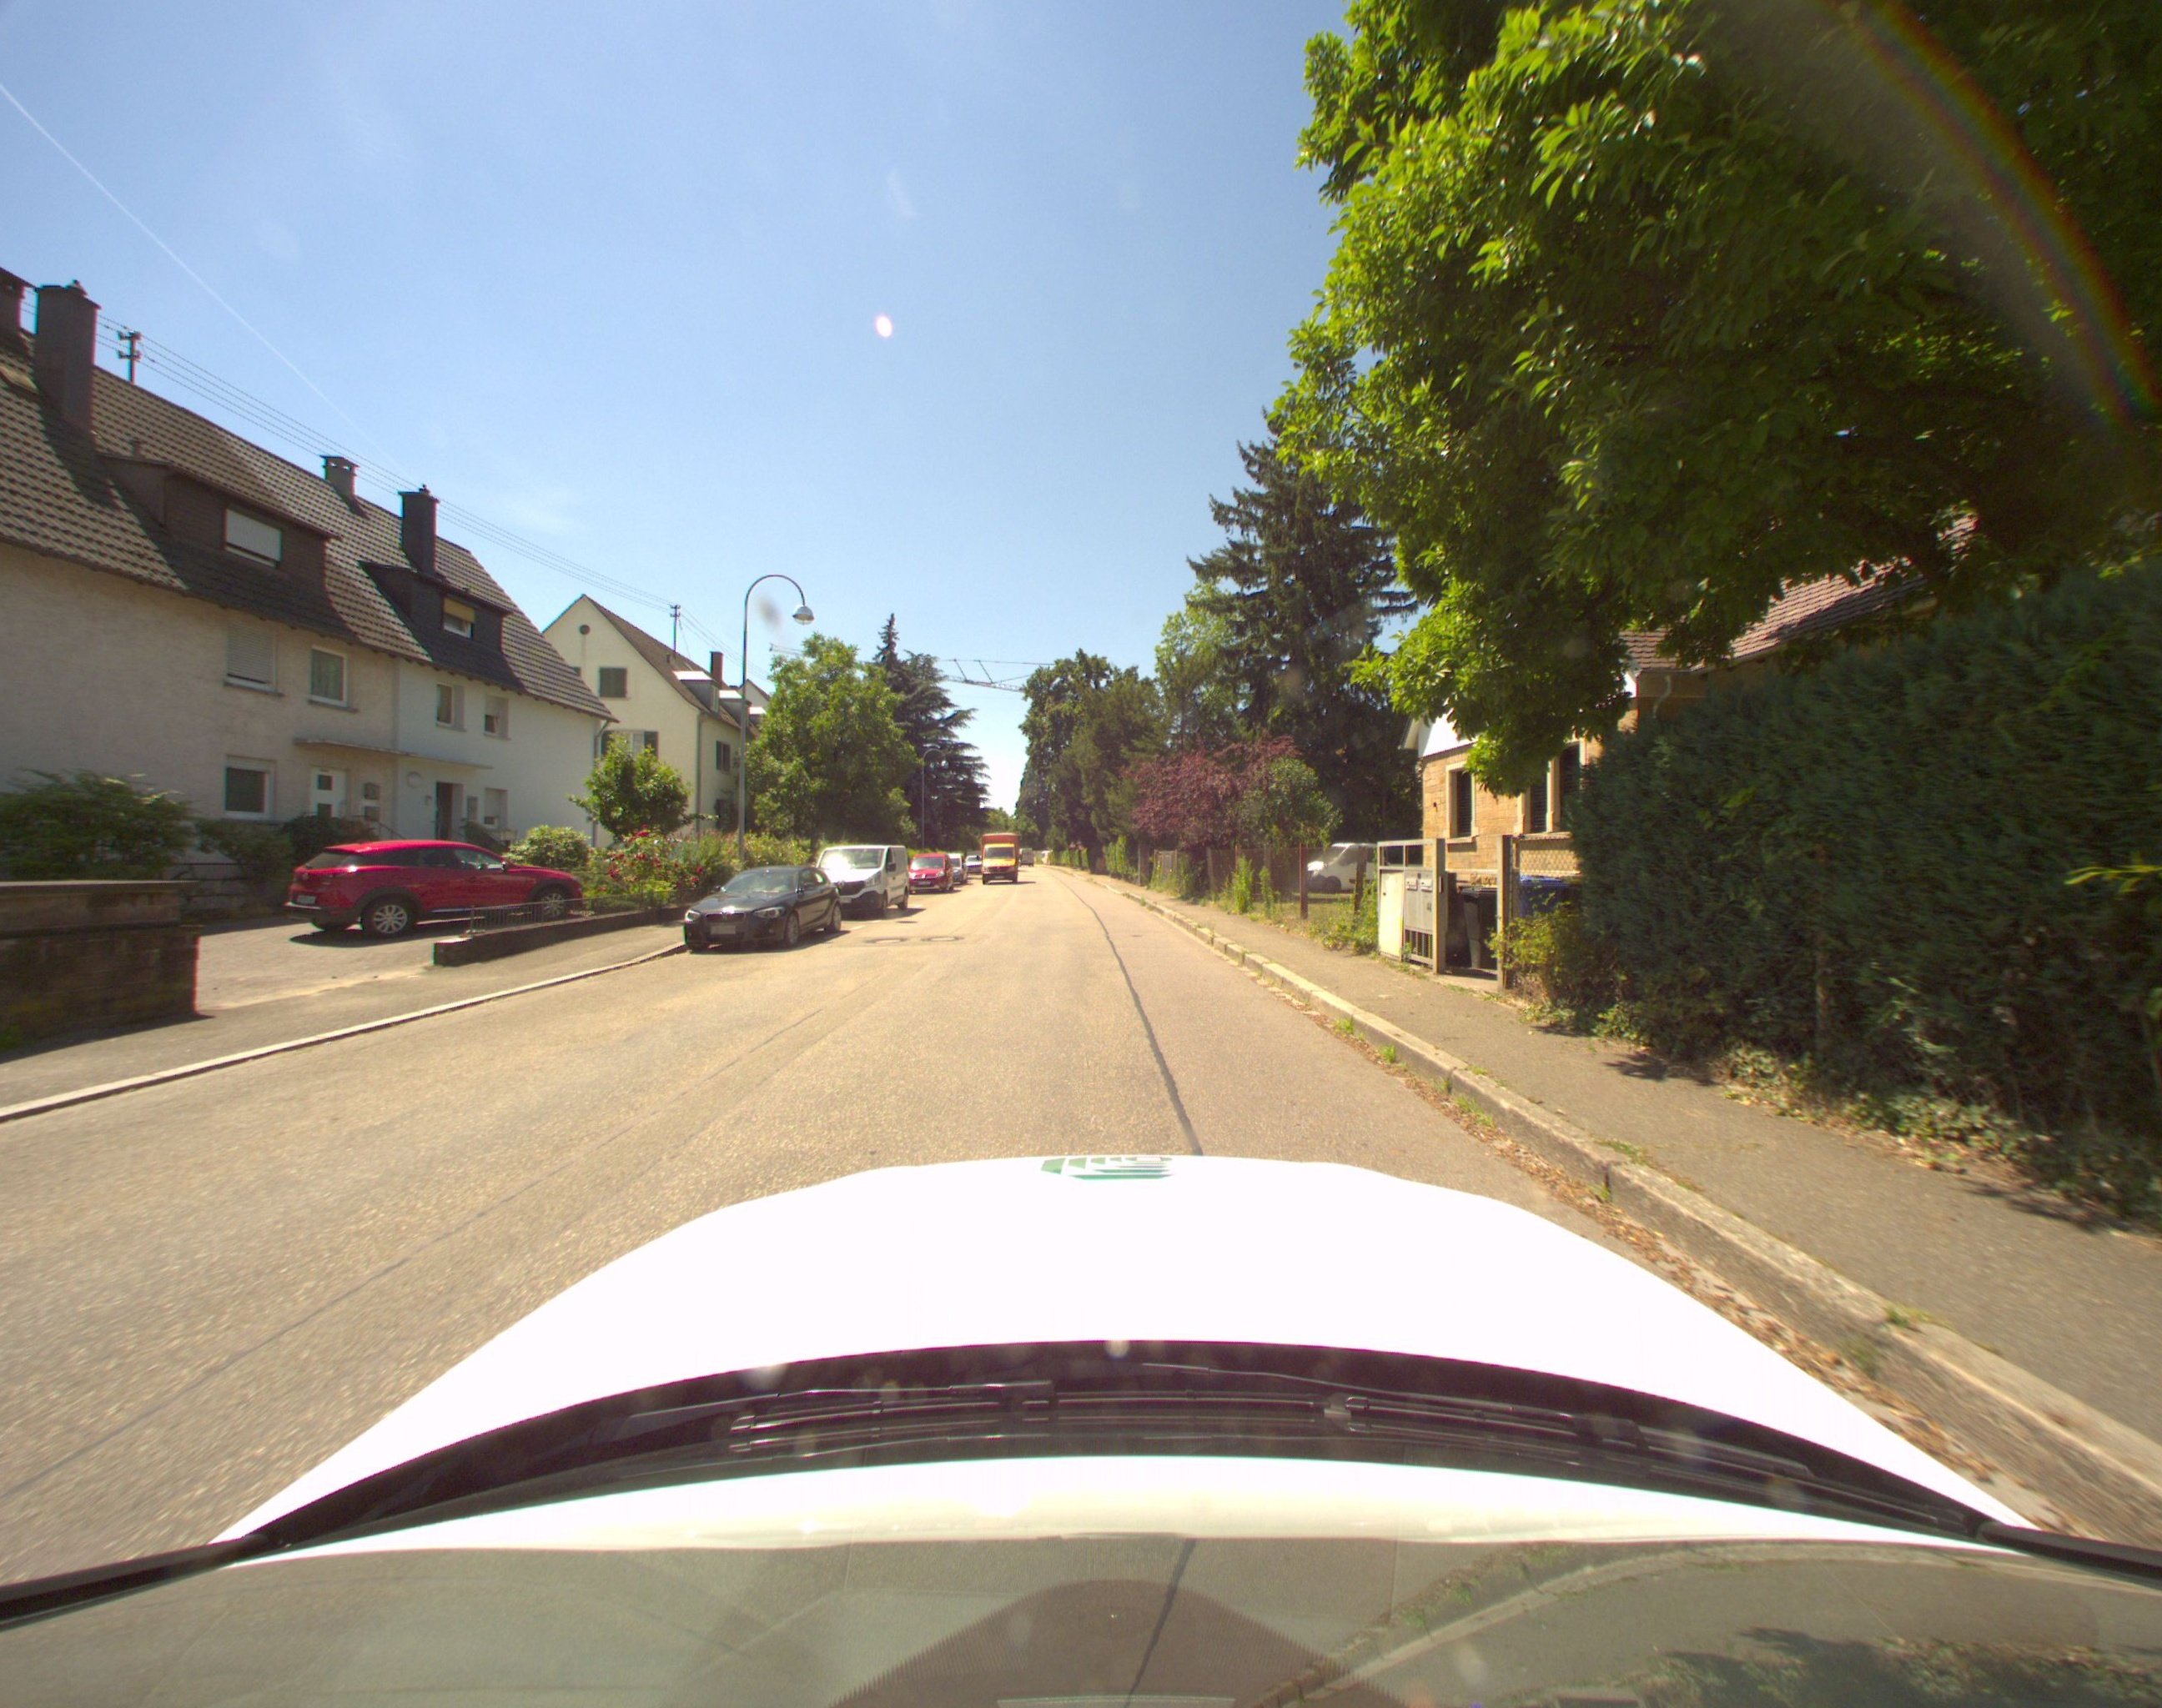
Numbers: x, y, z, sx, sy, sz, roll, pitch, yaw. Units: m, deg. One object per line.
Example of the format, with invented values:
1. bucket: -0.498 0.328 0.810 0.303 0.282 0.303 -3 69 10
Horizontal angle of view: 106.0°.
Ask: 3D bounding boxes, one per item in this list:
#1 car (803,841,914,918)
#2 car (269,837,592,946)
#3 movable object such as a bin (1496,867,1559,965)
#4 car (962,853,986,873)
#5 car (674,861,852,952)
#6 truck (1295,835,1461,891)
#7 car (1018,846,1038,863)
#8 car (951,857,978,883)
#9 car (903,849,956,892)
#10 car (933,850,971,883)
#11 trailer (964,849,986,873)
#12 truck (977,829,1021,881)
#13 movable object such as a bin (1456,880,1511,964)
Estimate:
1. car: -6.026 0.660 22.677 1.881 1.881 4.976 -1 -1 -2
2. car: -11.168 0.519 14.364 1.628 1.511 4.137 4 3 25
3. movable object such as a bin: 5.094 0.693 9.310 0.398 1.064 0.546 -1 0 0
4. car: -9.196 0.772 70.379 1.849 1.671 4.702 -2 0 -6
5. car: -5.778 0.871 15.397 1.694 1.384 4.234 -2 0 -1
6. truck: 12.958 0.385 35.665 6.603 2.167 1.975 2 1 -7
7. car: -7.563 0.113 115.792 2.144 2.315 4.834 -1 0 -11
8. car: -7.301 1.003 51.258 1.408 1.503 2.837 -2 0 -3
9. car: -6.654 0.688 36.212 1.754 1.727 4.452 -2 0 -4
10. car: -7.299 0.697 46.322 1.644 1.752 4.349 -1 0 -3
11. trailer: -9.669 0.623 74.788 1.845 2.040 4.154 -2 0 -6
12. truck: -4.737 0.085 47.681 2.369 2.830 5.650 -1 0 -4
13. movable object such as a bin: 4.652 0.771 9.431 0.398 0.923 0.464 -1 0 0
